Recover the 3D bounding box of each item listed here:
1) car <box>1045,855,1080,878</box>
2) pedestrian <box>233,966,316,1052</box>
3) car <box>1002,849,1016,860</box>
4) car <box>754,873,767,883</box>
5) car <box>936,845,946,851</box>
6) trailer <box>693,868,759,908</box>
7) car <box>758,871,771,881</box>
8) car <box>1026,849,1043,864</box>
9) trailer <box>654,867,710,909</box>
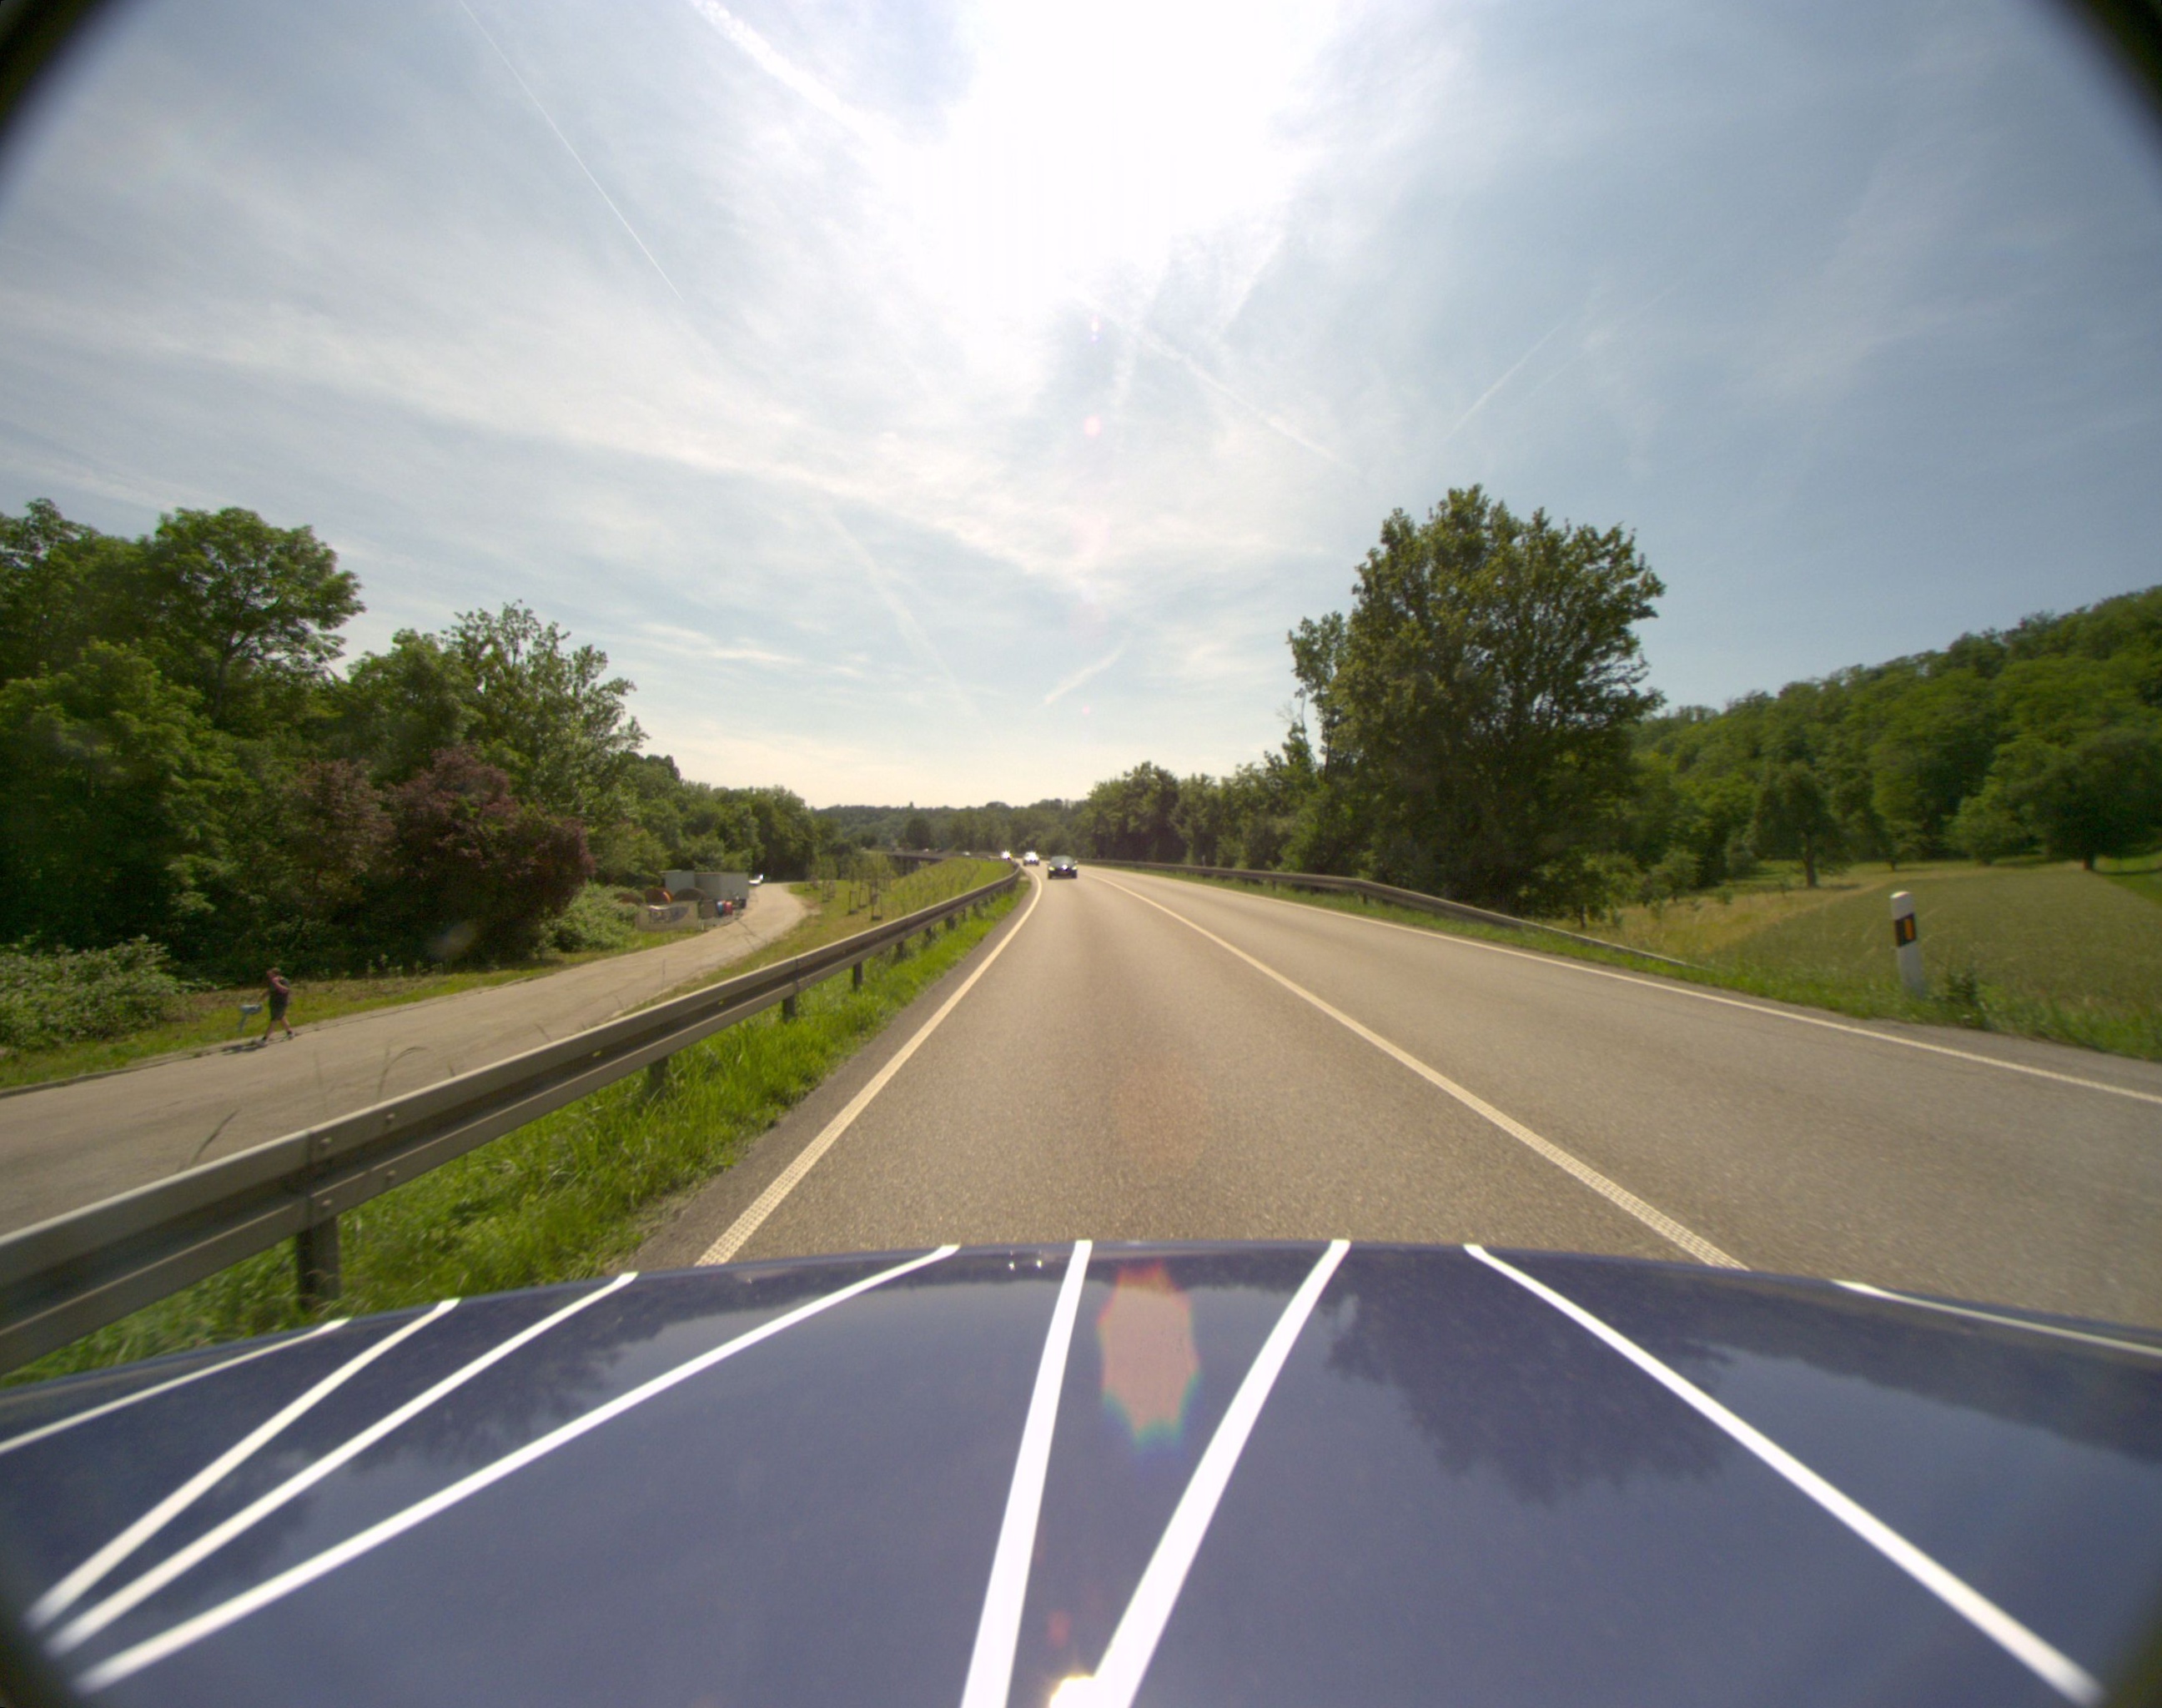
[{"bbox_3d":[-1.242,0.785,48.789,1.981,1.333,3.997,-1,1,-5],"label":"car"},{"bbox_3d":[-18.694,3.571,17.634,0.887,1.800,0.959,2,0,-3],"label":"pedestrian"},{"bbox_3d":[-12.742,0.121,134.700,1.982,1.723,3.994,-1,2,-13],"label":"car"},{"bbox_3d":[-54.885,4.100,130.172,1.866,1.474,4.599,3,-1,-20],"label":"car"},{"bbox_3d":[-45.794,-1.906,248.162,1.930,1.849,5.164,-2,1,-26],"label":"car"},{"bbox_3d":[-34.001,3.100,72.368,2.732,3.309,11.862,-2,1,-39],"label":"trailer"},{"bbox_3d":[-58.611,4.007,140.814,1.865,1.672,4.193,2,-1,-17],"label":"car"},{"bbox_3d":[-5.992,0.327,97.524,1.981,1.779,3.998,-1,0,-5],"label":"car"},{"bbox_3d":[-38.686,3.121,73.365,2.732,3.586,11.863,-3,1,-37],"label":"trailer"}]
